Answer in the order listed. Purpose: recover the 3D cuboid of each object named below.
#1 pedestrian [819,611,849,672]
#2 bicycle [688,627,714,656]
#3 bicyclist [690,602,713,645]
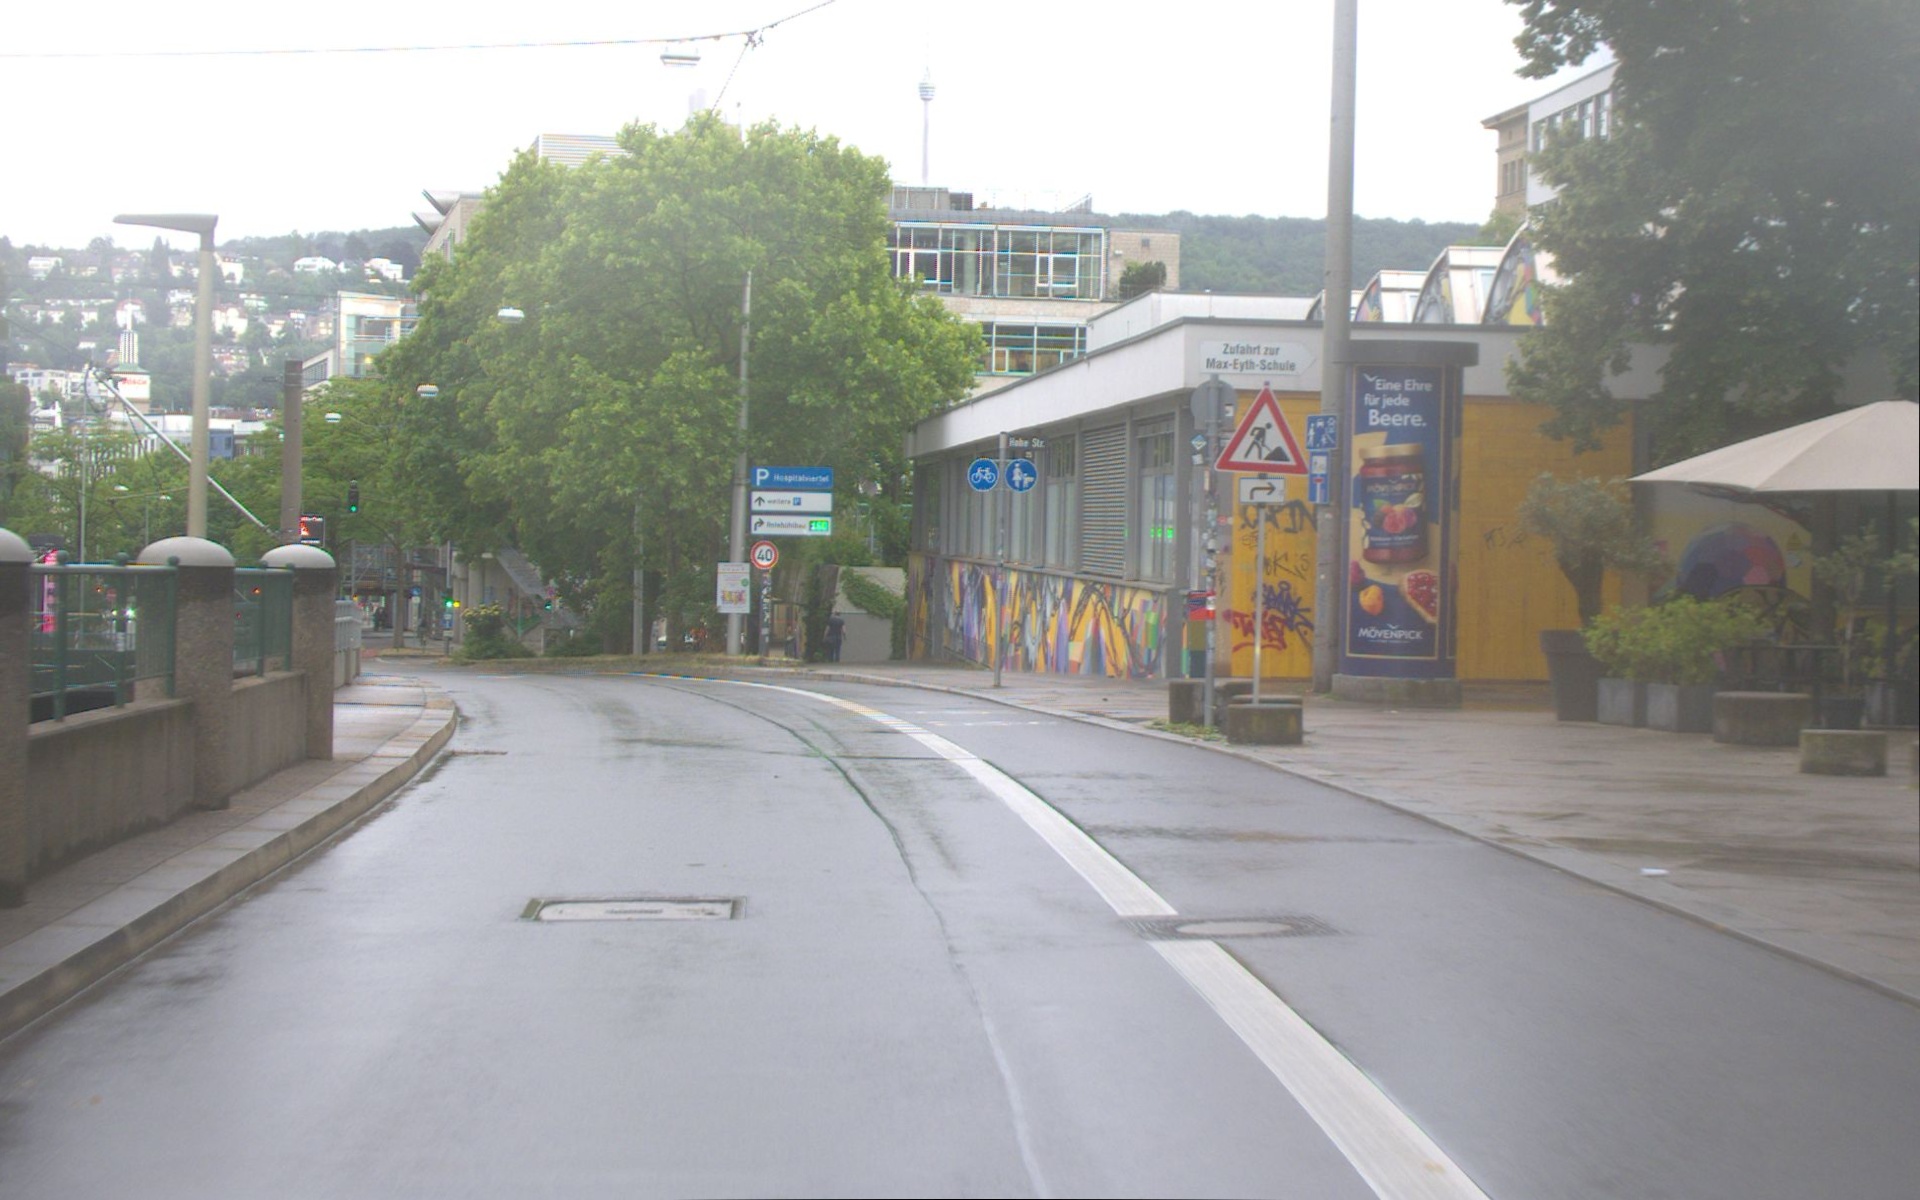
[{"bbox_3d":[-3.854,1.269,105.438,0.807,1.858,1.056,-1,-1,-7],"label":"pedestrian"},{"bbox_3d":[-9.890,1.580,131.270,0.806,1.108,2.198,0,-1,-10],"label":"bicycle"},{"bbox_3d":[-9.861,0.898,131.130,0.806,1.622,1.047,0,-1,-10],"label":"bicyclist"}]
